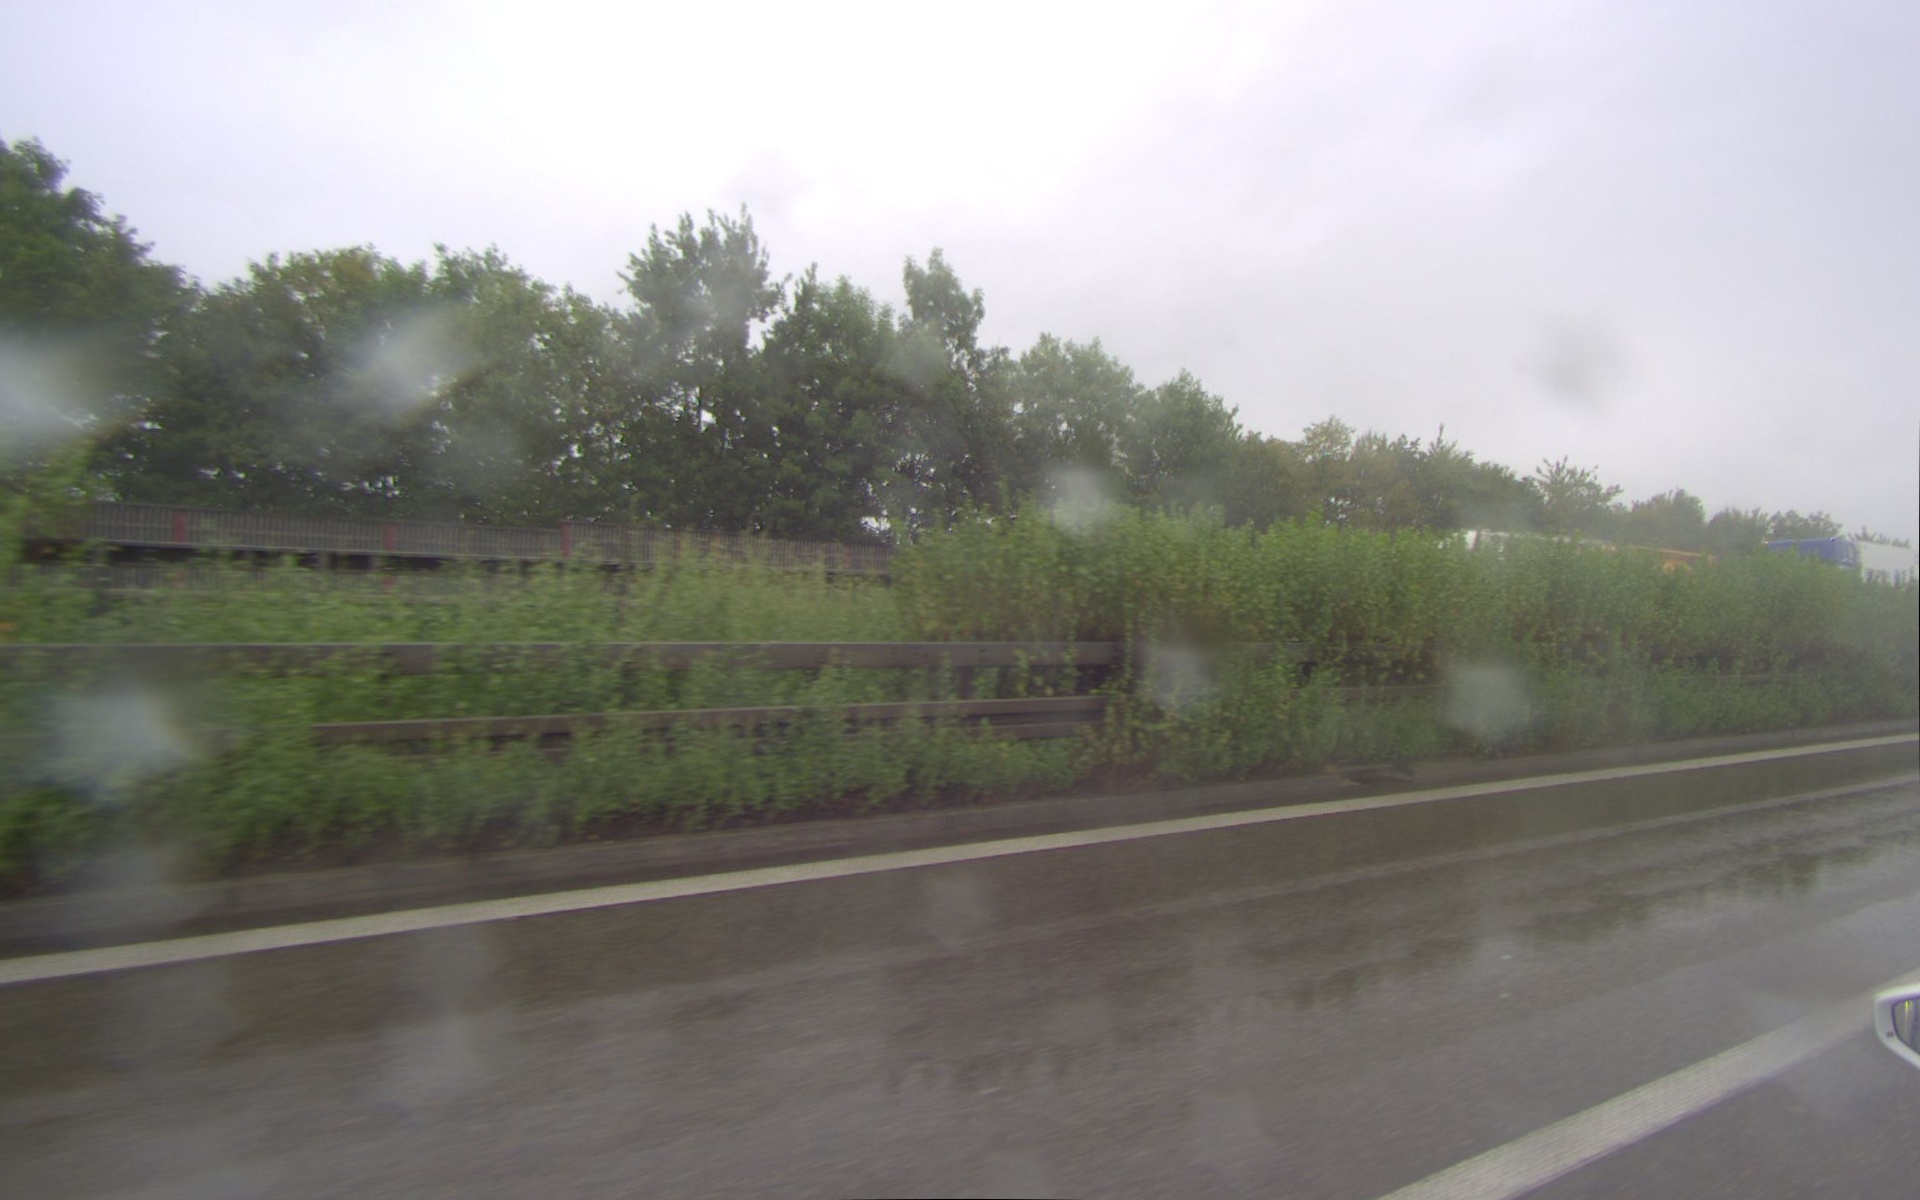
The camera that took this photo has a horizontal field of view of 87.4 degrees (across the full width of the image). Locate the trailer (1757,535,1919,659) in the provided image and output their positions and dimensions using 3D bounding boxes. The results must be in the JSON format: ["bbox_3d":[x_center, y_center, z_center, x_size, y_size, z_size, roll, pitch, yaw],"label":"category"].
[{"bbox_3d":[40.507,0.058,43.865,14.852,4.758,3.850,2,0,-31],"label":"trailer"}]

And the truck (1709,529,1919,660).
[{"bbox_3d":[34.322,-0.137,40.121,9.301,4.701,3.816,1,0,-31],"label":"truck"}]

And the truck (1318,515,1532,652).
[{"bbox_3d":[15.189,-0.420,32.738,6.548,4.046,3.135,2,0,-31],"label":"truck"}]

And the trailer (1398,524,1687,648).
[{"bbox_3d":[21.519,-0.289,36.610,13.105,3.929,3.181,2,0,-31],"label":"trailer"}]
